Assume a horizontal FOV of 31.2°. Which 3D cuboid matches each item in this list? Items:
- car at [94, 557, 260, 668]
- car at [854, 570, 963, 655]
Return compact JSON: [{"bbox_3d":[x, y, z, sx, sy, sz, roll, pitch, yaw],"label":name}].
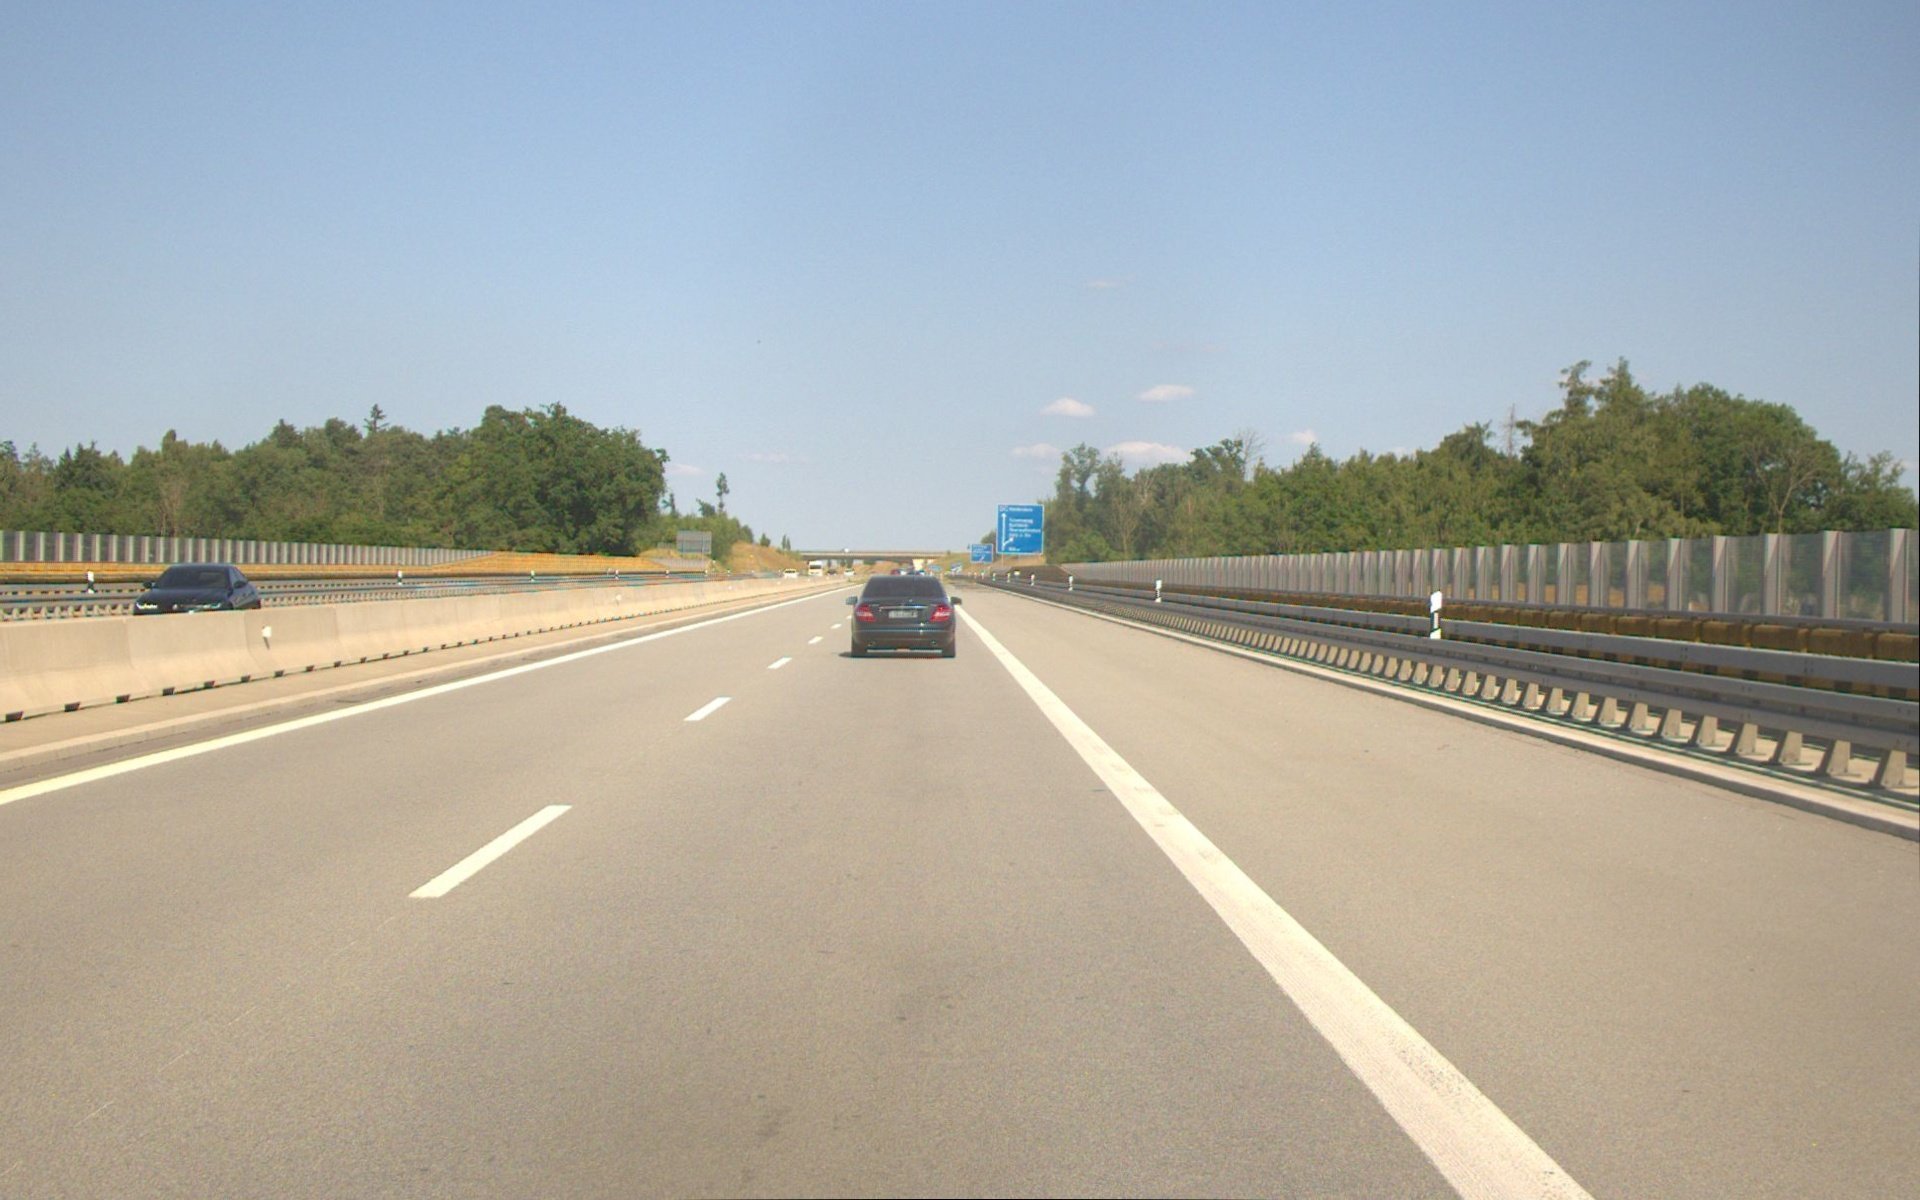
[{"bbox_3d":[-14.725,0.199,64.903,1.993,2.007,4.761,0,1,1],"label":"car"},{"bbox_3d":[-0.852,0.186,58.564,1.790,1.369,3.917,0,1,0],"label":"car"}]
